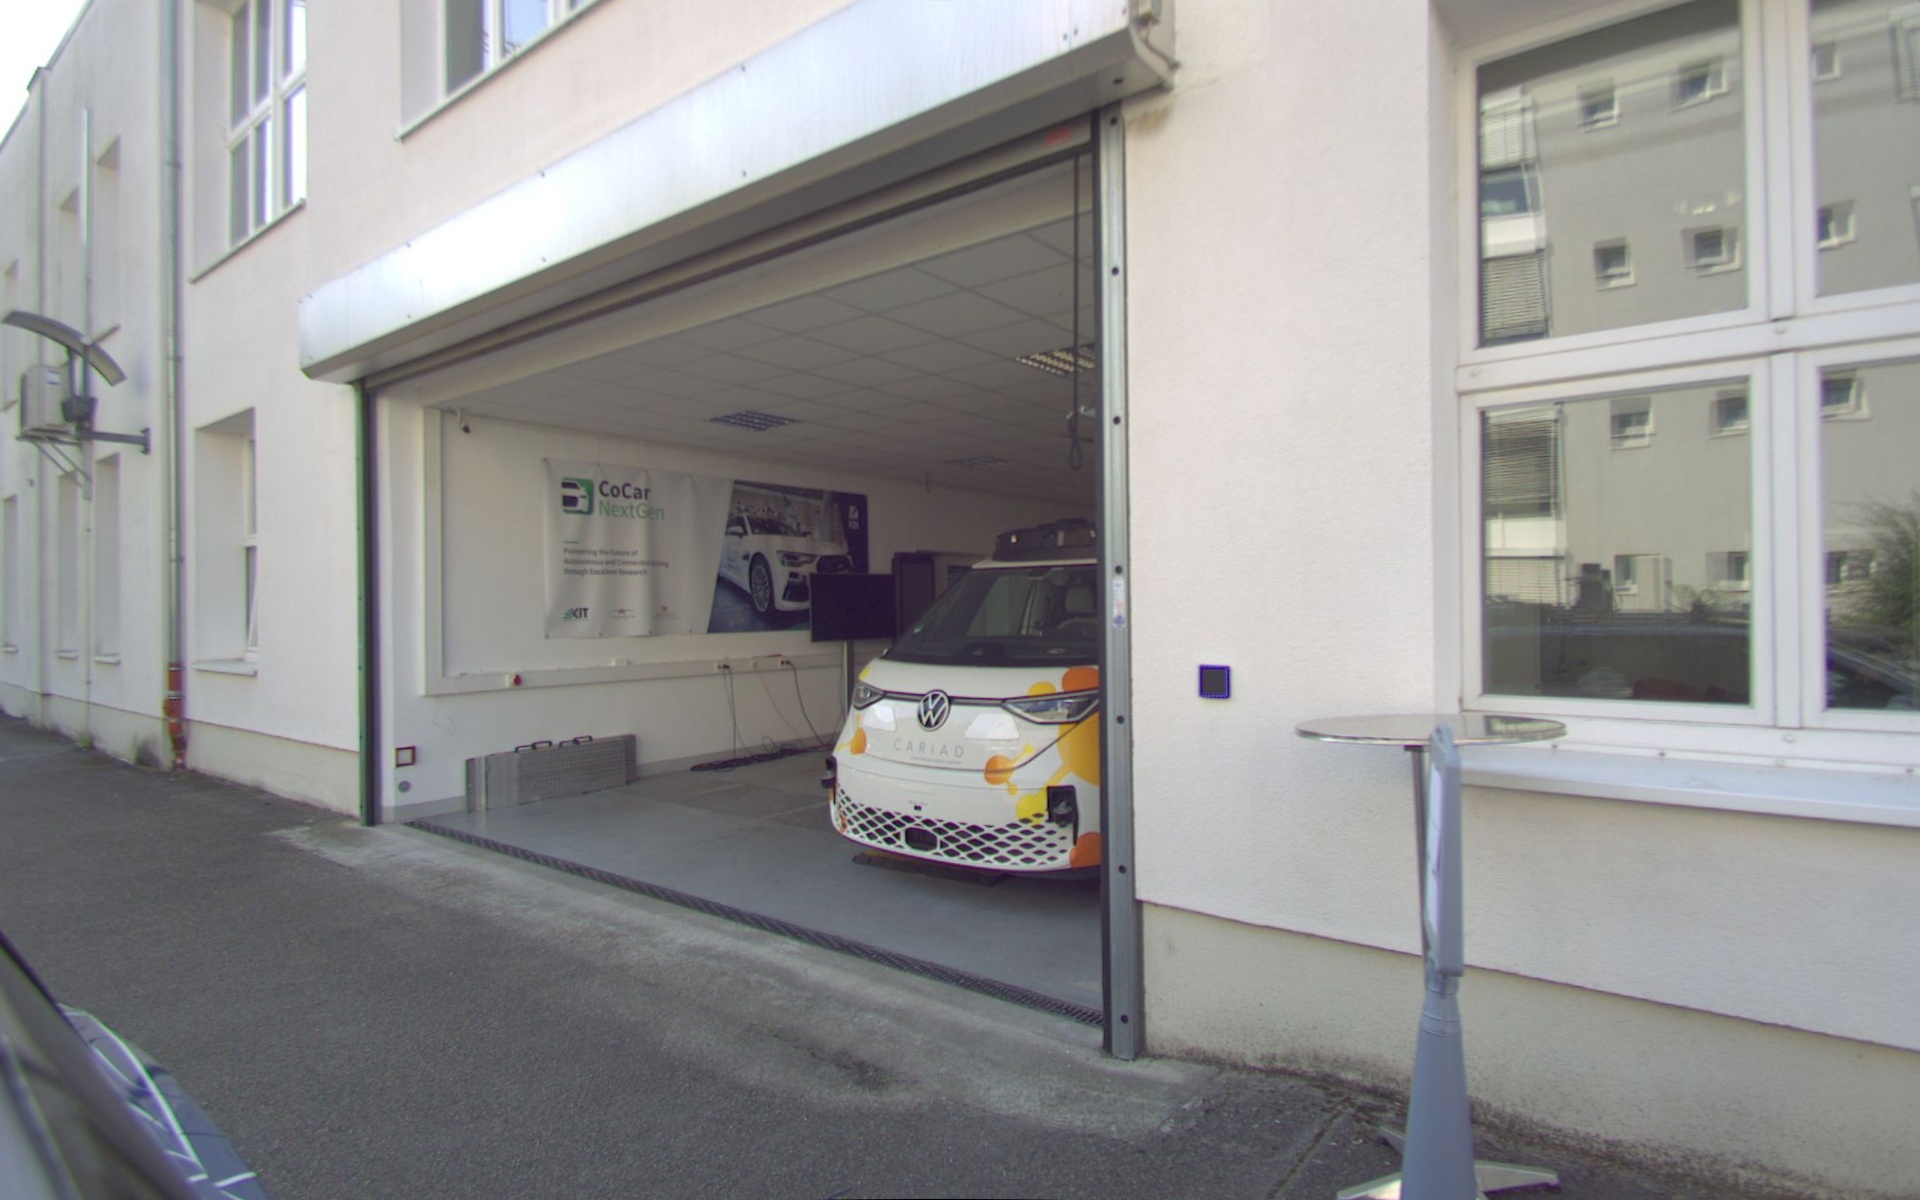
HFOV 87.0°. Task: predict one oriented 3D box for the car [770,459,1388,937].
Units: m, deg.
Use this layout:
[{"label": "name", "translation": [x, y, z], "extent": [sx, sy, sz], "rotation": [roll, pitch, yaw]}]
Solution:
[{"label": "car", "translation": [1.189, 0.384, 6.956], "extent": [2.053, 2.108, 4.701], "rotation": [0, 1, 38]}]
